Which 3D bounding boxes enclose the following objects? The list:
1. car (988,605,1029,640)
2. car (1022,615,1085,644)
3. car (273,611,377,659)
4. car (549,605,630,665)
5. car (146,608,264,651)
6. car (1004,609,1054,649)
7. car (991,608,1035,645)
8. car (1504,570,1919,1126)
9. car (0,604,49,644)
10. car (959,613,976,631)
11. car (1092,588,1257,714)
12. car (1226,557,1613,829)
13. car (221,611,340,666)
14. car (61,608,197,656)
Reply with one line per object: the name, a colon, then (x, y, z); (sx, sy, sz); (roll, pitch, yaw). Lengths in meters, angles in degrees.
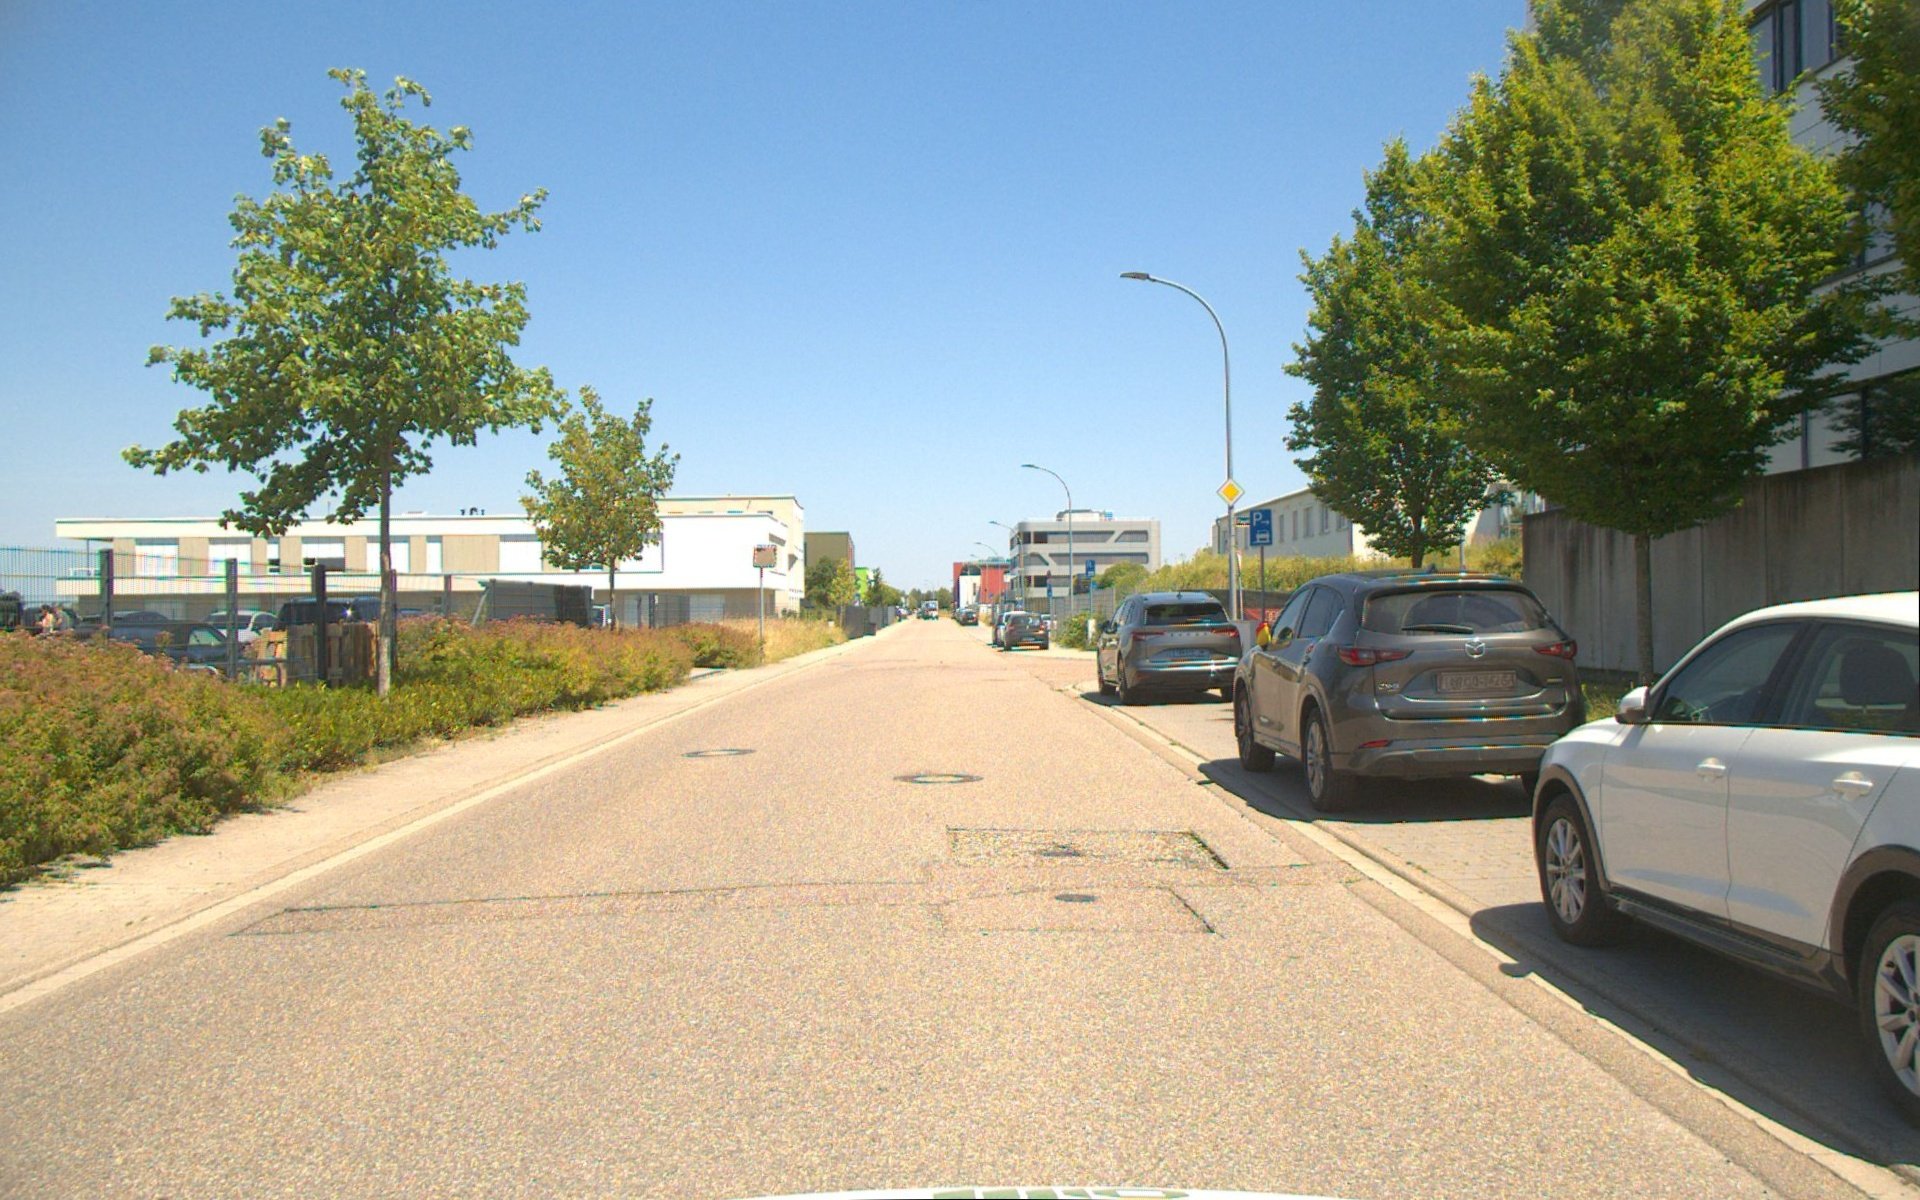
car: (2.370, 1.079, 80.417); (1.868, 1.573, 4.001); (-2, -1, 2)
car: (6.917, 2.170, 122.559); (4.529, 2.049, 2.607); (1, -1, 2)
car: (-18.726, 1.008, 48.949); (1.789, 1.361, 3.757); (-1, 0, -3)
car: (-10.089, 0.927, 45.211); (1.666, 1.547, 2.995); (-1, 0, -3)
car: (-21.541, 0.834, 47.340); (1.789, 1.154, 3.757); (-1, 0, -3)
car: (2.712, 1.117, 65.221); (1.868, 1.473, 4.001); (-2, -1, 2)
car: (2.368, 1.171, 74.135); (1.868, 1.573, 4.001); (-2, -1, 2)
car: (3.462, 0.664, 5.815); (1.681, 1.507, 4.030); (-3, 0, 0)
car: (-28.221, 0.699, 47.854); (1.789, 1.154, 3.757); (-1, 0, -3)
car: (0.804, 2.331, 175.918); (1.740, 1.758, 3.999); (1, 0, -1)
car: (3.242, 0.729, 25.869); (1.767, 1.691, 4.606); (-3, 0, -2)
car: (3.327, 0.604, 12.891); (1.722, 1.692, 4.362); (-2, 0, 0)
car: (-17.967, 0.986, 43.903); (1.789, 1.361, 3.757); (-1, 0, -3)
car: (-21.411, 0.802, 42.764); (1.789, 1.154, 3.757); (-1, 0, -3)
